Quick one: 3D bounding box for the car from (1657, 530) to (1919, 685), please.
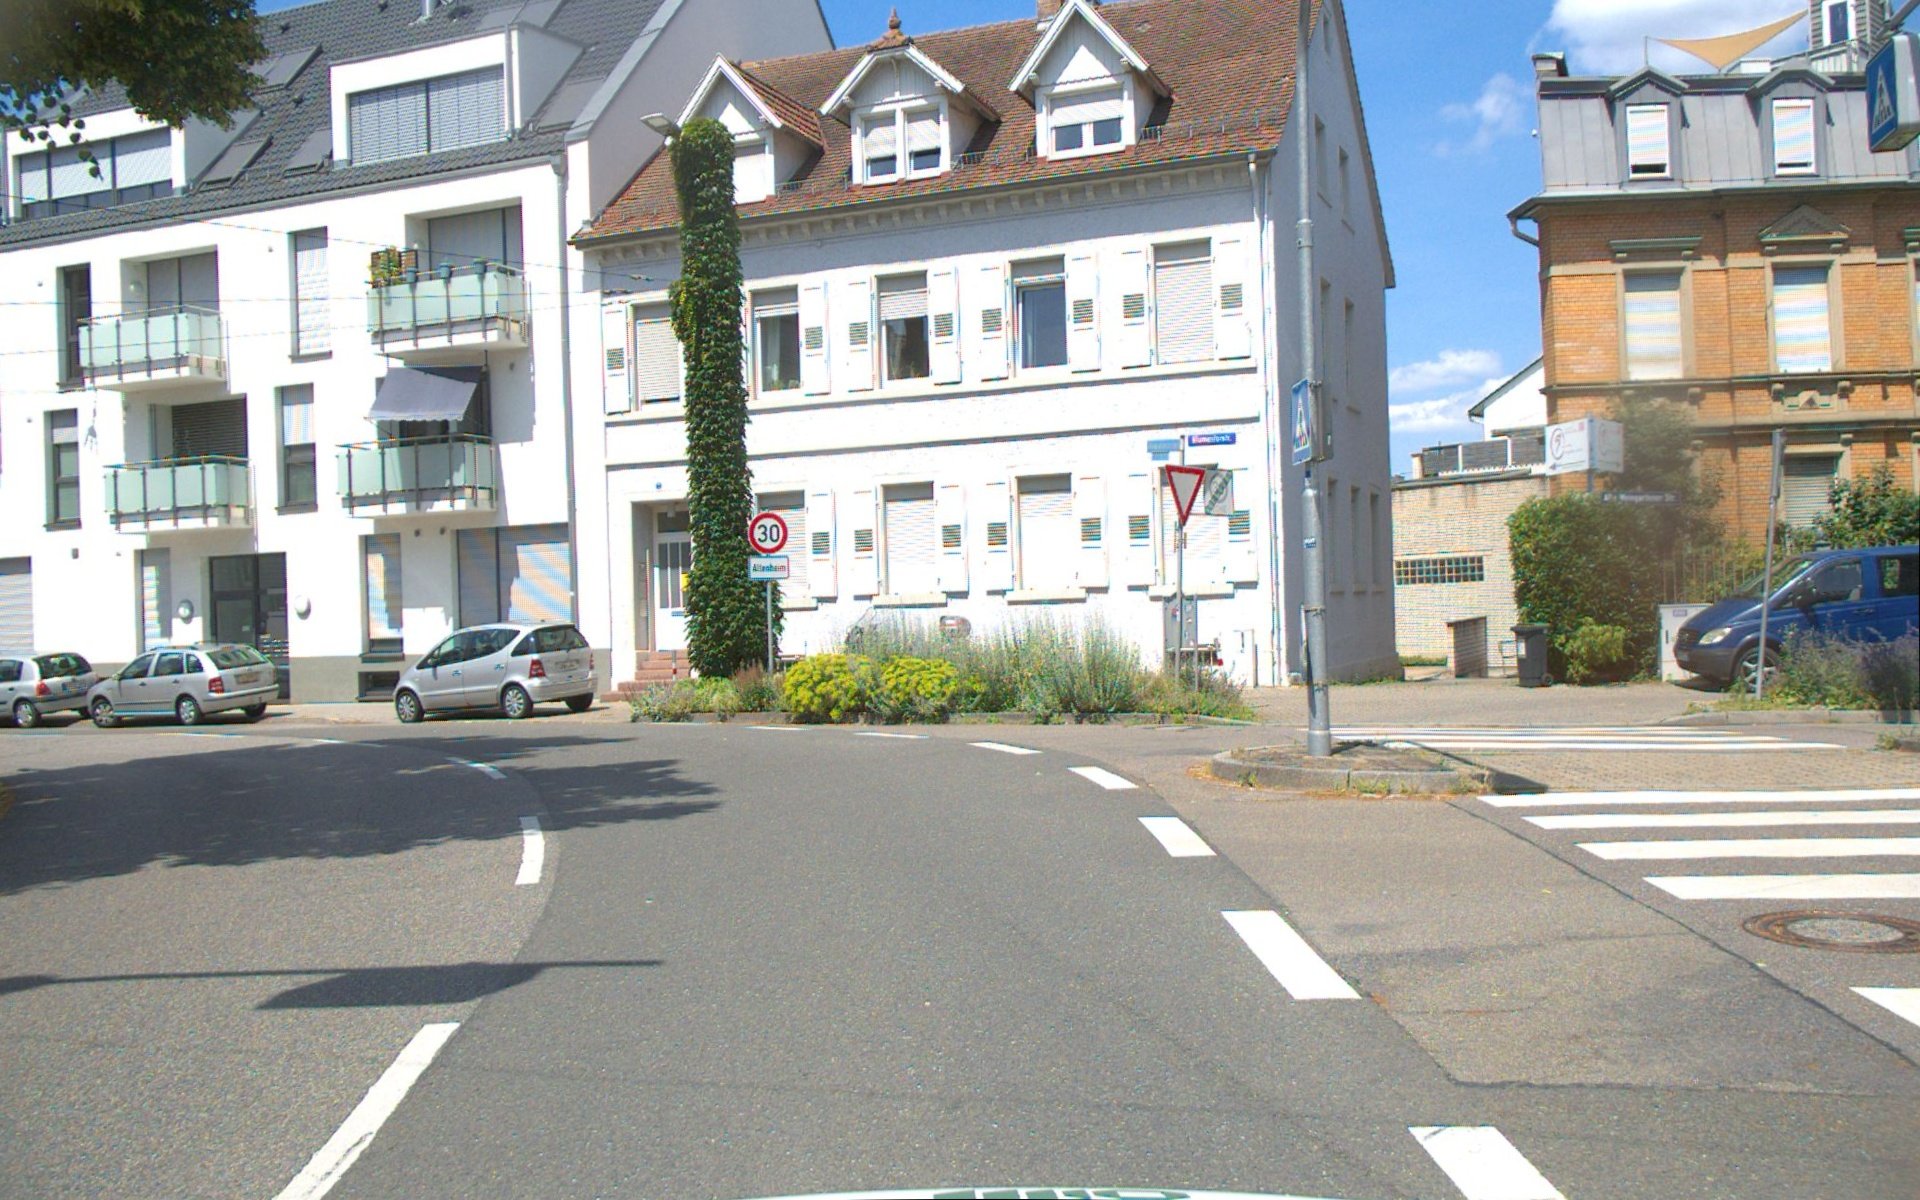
[{"bbox_3d":[12.794,0.047,23.222,5.114,1.981,2.085,-3,0,8],"label":"car"}]

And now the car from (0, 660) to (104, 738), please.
[{"bbox_3d":[-19.153,1.989,33.273,3.420,1.381,1.423,-2,3,20],"label":"car"}]

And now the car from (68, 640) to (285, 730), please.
[{"bbox_3d":[-14.947,1.599,31.529,3.819,1.491,1.660,-1,3,27],"label":"car"}]

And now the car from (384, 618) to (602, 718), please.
[{"bbox_3d":[-8.047,1.171,28.461,3.538,1.614,1.581,-2,-3,30],"label":"car"}]

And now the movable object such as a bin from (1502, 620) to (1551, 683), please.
[{"bbox_3d":[8.447,0.775,24.679,0.413,0.932,0.555,1,-3,-26],"label":"movable object such as a bin"}]
